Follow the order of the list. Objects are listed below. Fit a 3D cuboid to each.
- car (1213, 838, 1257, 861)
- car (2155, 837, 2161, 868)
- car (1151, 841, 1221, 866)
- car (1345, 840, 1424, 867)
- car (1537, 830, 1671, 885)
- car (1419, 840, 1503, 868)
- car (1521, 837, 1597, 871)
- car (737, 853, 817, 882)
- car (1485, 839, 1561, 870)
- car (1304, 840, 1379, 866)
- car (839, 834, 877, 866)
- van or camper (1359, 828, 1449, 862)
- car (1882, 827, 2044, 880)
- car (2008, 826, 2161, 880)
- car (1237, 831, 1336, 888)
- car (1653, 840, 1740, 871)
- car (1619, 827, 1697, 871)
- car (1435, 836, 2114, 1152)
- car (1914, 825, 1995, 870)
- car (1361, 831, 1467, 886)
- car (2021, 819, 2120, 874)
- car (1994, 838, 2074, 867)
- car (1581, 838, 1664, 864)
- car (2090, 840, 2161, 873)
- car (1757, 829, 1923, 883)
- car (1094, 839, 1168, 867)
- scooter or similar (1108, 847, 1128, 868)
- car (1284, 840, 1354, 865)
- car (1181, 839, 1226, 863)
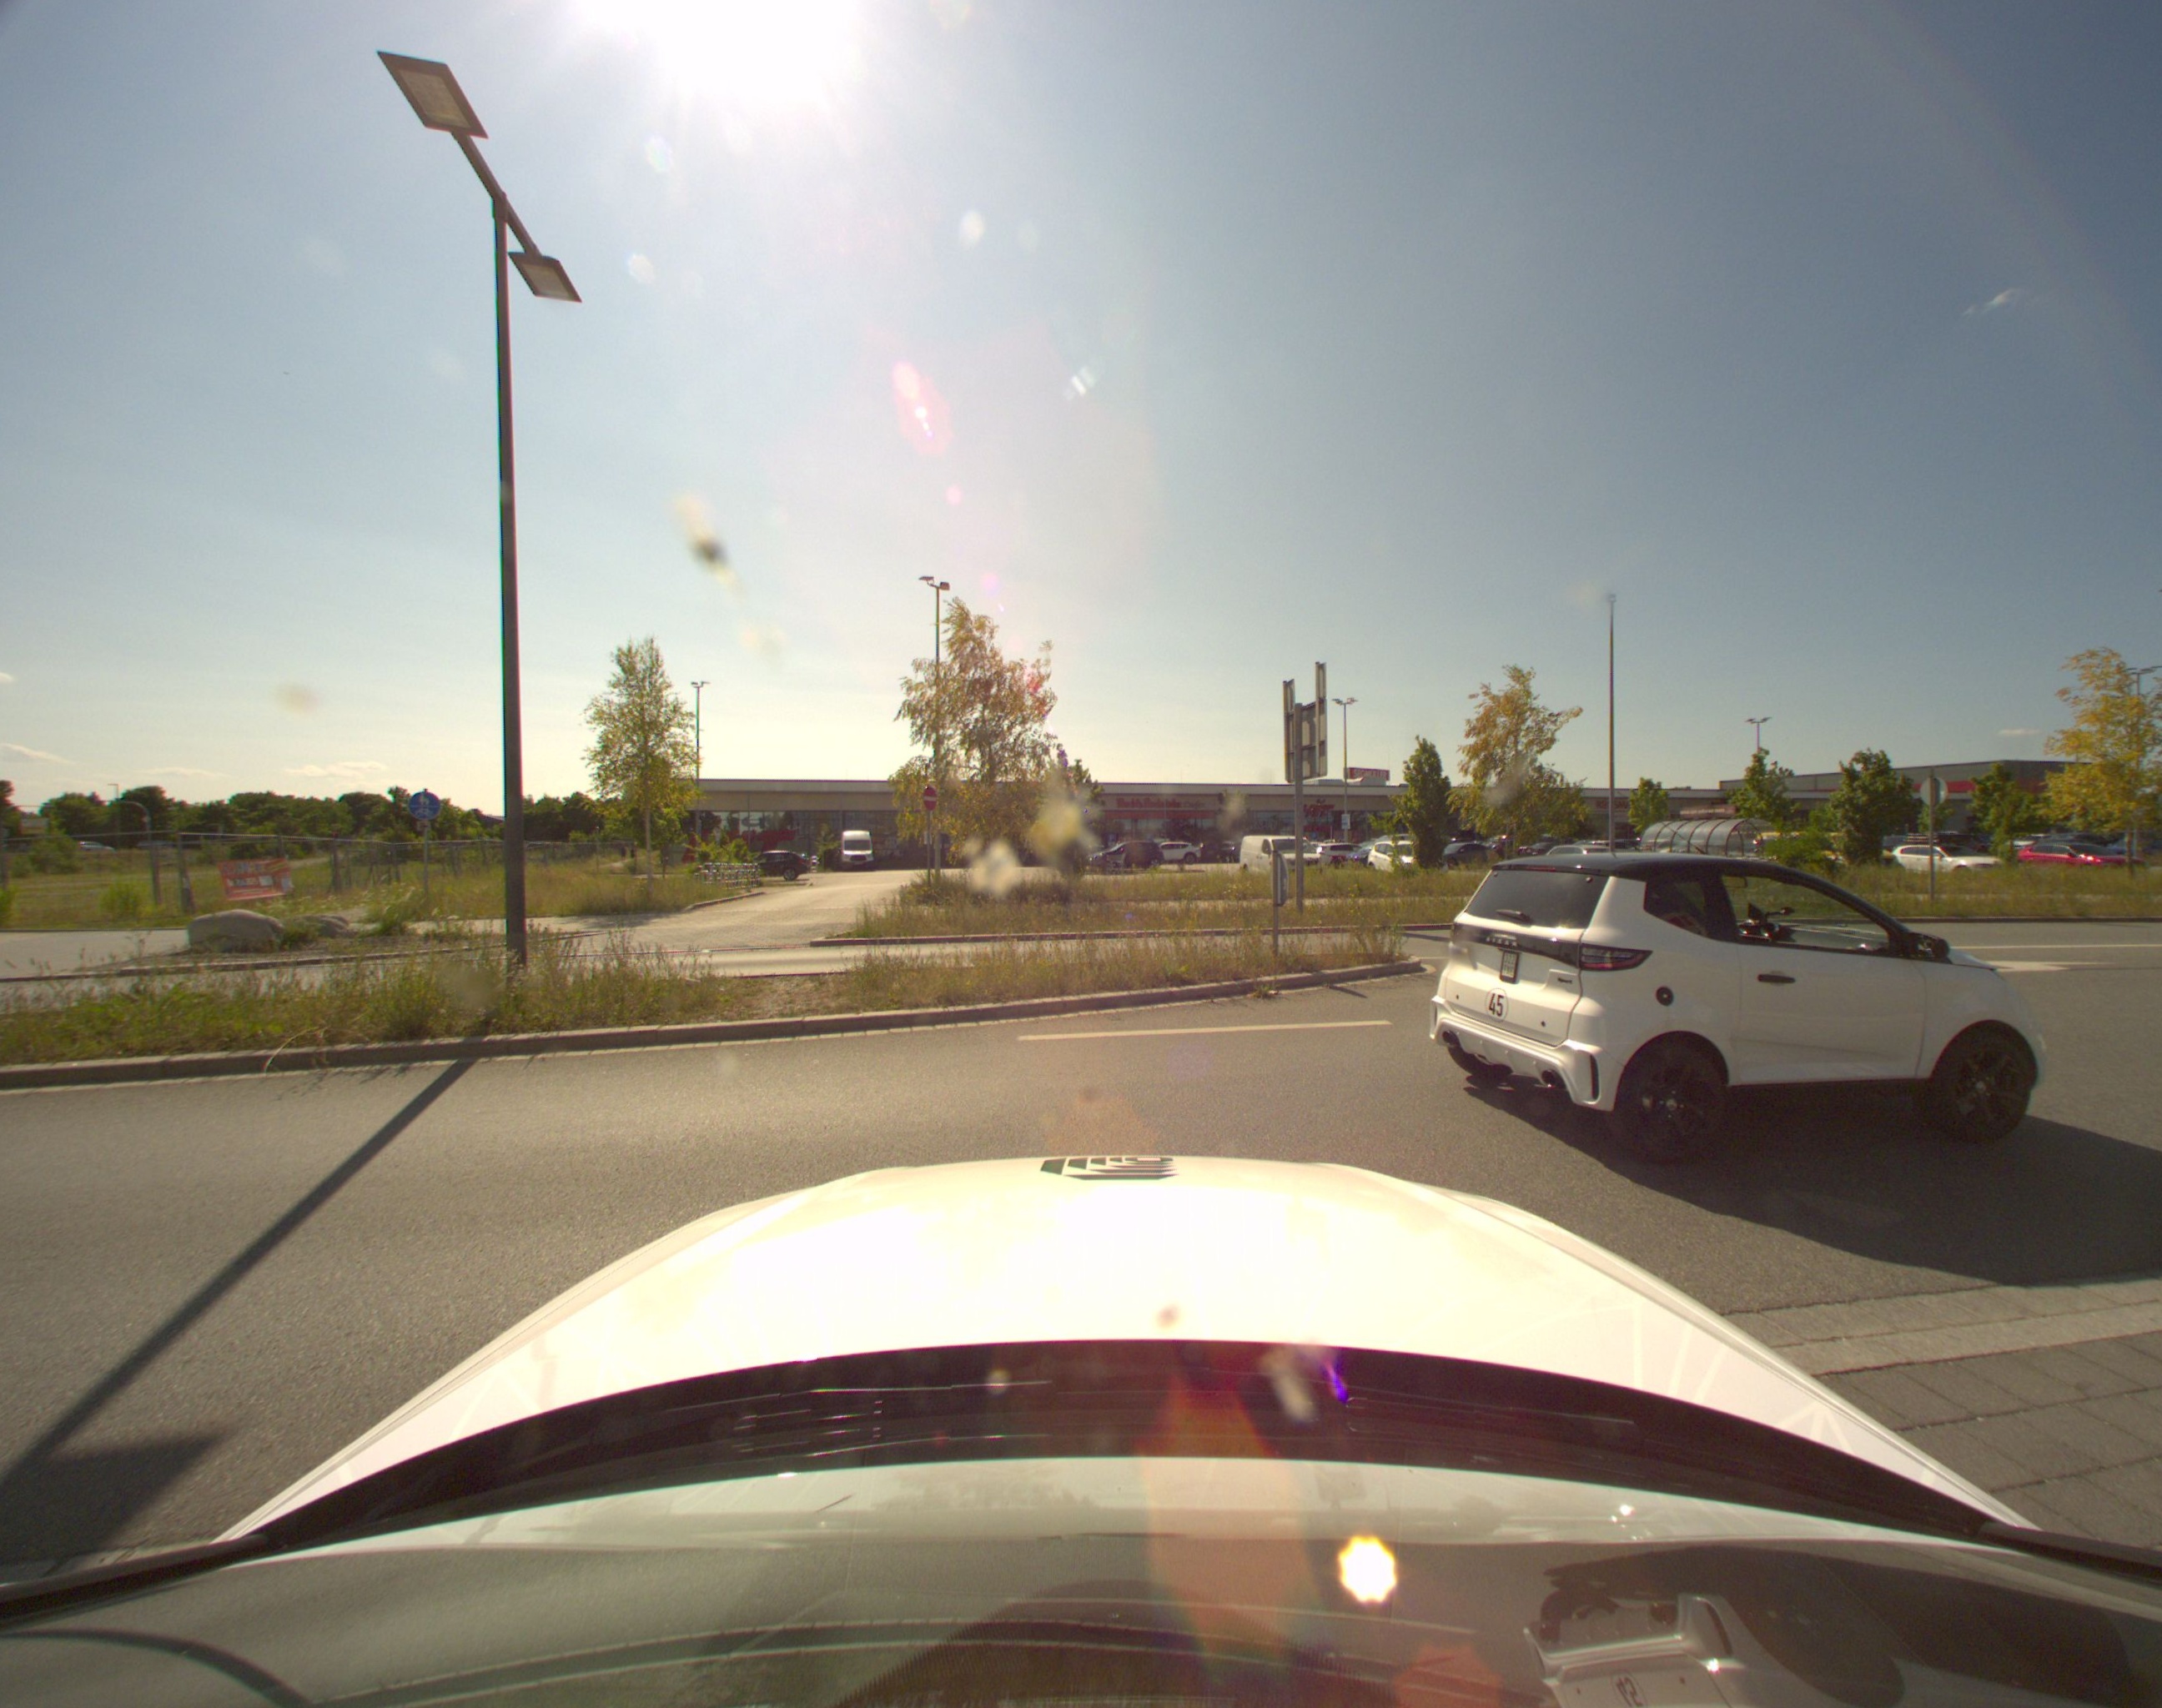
[{"bbox_3d":[11.723,-0.356,62.252,1.994,1.707,3.986,-1,1,-11],"label":"car"},{"bbox_3d":[71.260,-0.107,51.795,4.476,2.038,1.990,0,0,-14],"label":"car"},{"bbox_3d":[7.193,-0.055,55.927,4.473,1.706,1.867,0,0,-11],"label":"car"},{"bbox_3d":[16.293,-0.040,43.701,3.729,1.390,1.722,-1,1,-18],"label":"car"},{"bbox_3d":[20.829,0.093,32.758,2.150,2.013,5.116,0,1,0],"label":"car"},{"bbox_3d":[21.285,0.006,45.670,3.991,1.508,1.867,0,0,-13],"label":"car"},{"bbox_3d":[31.605,0.003,53.873,4.485,2.191,1.987,0,0,-20],"label":"car"},{"bbox_3d":[-16.064,0.687,43.208,3.843,1.423,1.761,0,0,-18],"label":"car"},{"bbox_3d":[30.849,0.040,56.875,4.470,2.102,1.993,0,0,-10],"label":"car"},{"bbox_3d":[14.701,-0.079,46.004,3.729,1.390,1.722,-1,1,-18],"label":"car"},{"bbox_3d":[-15.233,-0.303,55.420,2.228,1.977,6.656,-1,1,-18],"label":"car"},{"bbox_3d":[20.180,-0.549,50.959,5.039,2.013,1.992,-1,1,-12],"label":"van or camper"},{"bbox_3d":[35.590,-0.045,33.057,1.930,2.013,4.414,0,1,3],"label":"car"},{"bbox_3d":[40.450,-0.063,32.749,1.868,2.013,4.145,0,1,5],"label":"car"},{"bbox_3d":[7.858,0.156,31.731,2.078,2.013,5.218,-1,1,-6],"label":"car"},{"bbox_3d":[38.333,0.096,50.718,4.476,1.863,1.990,0,0,-14],"label":"car"},{"bbox_3d":[37.893,-0.342,53.504,4.485,2.821,1.987,0,0,-20],"label":"car"},{"bbox_3d":[3.880,0.648,4.801,2.990,1.490,1.475,0,0,-9],"label":"car"},{"bbox_3d":[56.410,-0.429,52.603,4.485,2.821,1.987,0,0,-20],"label":"car"},{"bbox_3d":[13.043,0.133,32.292,2.150,2.013,5.116,0,1,0],"label":"car"},{"bbox_3d":[52.696,-0.380,43.387,4.485,2.821,1.987,0,0,-20],"label":"car"},{"bbox_3d":[69.075,-0.120,59.032,4.476,2.038,1.990,0,0,-14],"label":"car"},{"bbox_3d":[32.564,-0.205,48.978,4.339,1.520,1.648,0,0,-13],"label":"car"},{"bbox_3d":[58.711,0.104,45.084,4.307,1.784,1.990,0,0,-14],"label":"car"},{"bbox_3d":[30.550,0.045,33.059,2.148,2.013,5.120,0,1,3],"label":"car"},{"bbox_3d":[2.791,-0.080,45.892,3.799,1.508,1.724,-1,1,-14],"label":"car"},{"bbox_3d":[2.007,0.188,43.985,0.943,1.079,0.650,-1,1,-10],"label":"scooter or similar"},{"bbox_3d":[14.343,-0.107,49.023,3.729,1.390,1.722,-1,1,-18],"label":"car"},{"bbox_3d":[9.178,-0.231,61.339,1.997,1.707,3.980,-1,1,-15],"label":"car"}]
